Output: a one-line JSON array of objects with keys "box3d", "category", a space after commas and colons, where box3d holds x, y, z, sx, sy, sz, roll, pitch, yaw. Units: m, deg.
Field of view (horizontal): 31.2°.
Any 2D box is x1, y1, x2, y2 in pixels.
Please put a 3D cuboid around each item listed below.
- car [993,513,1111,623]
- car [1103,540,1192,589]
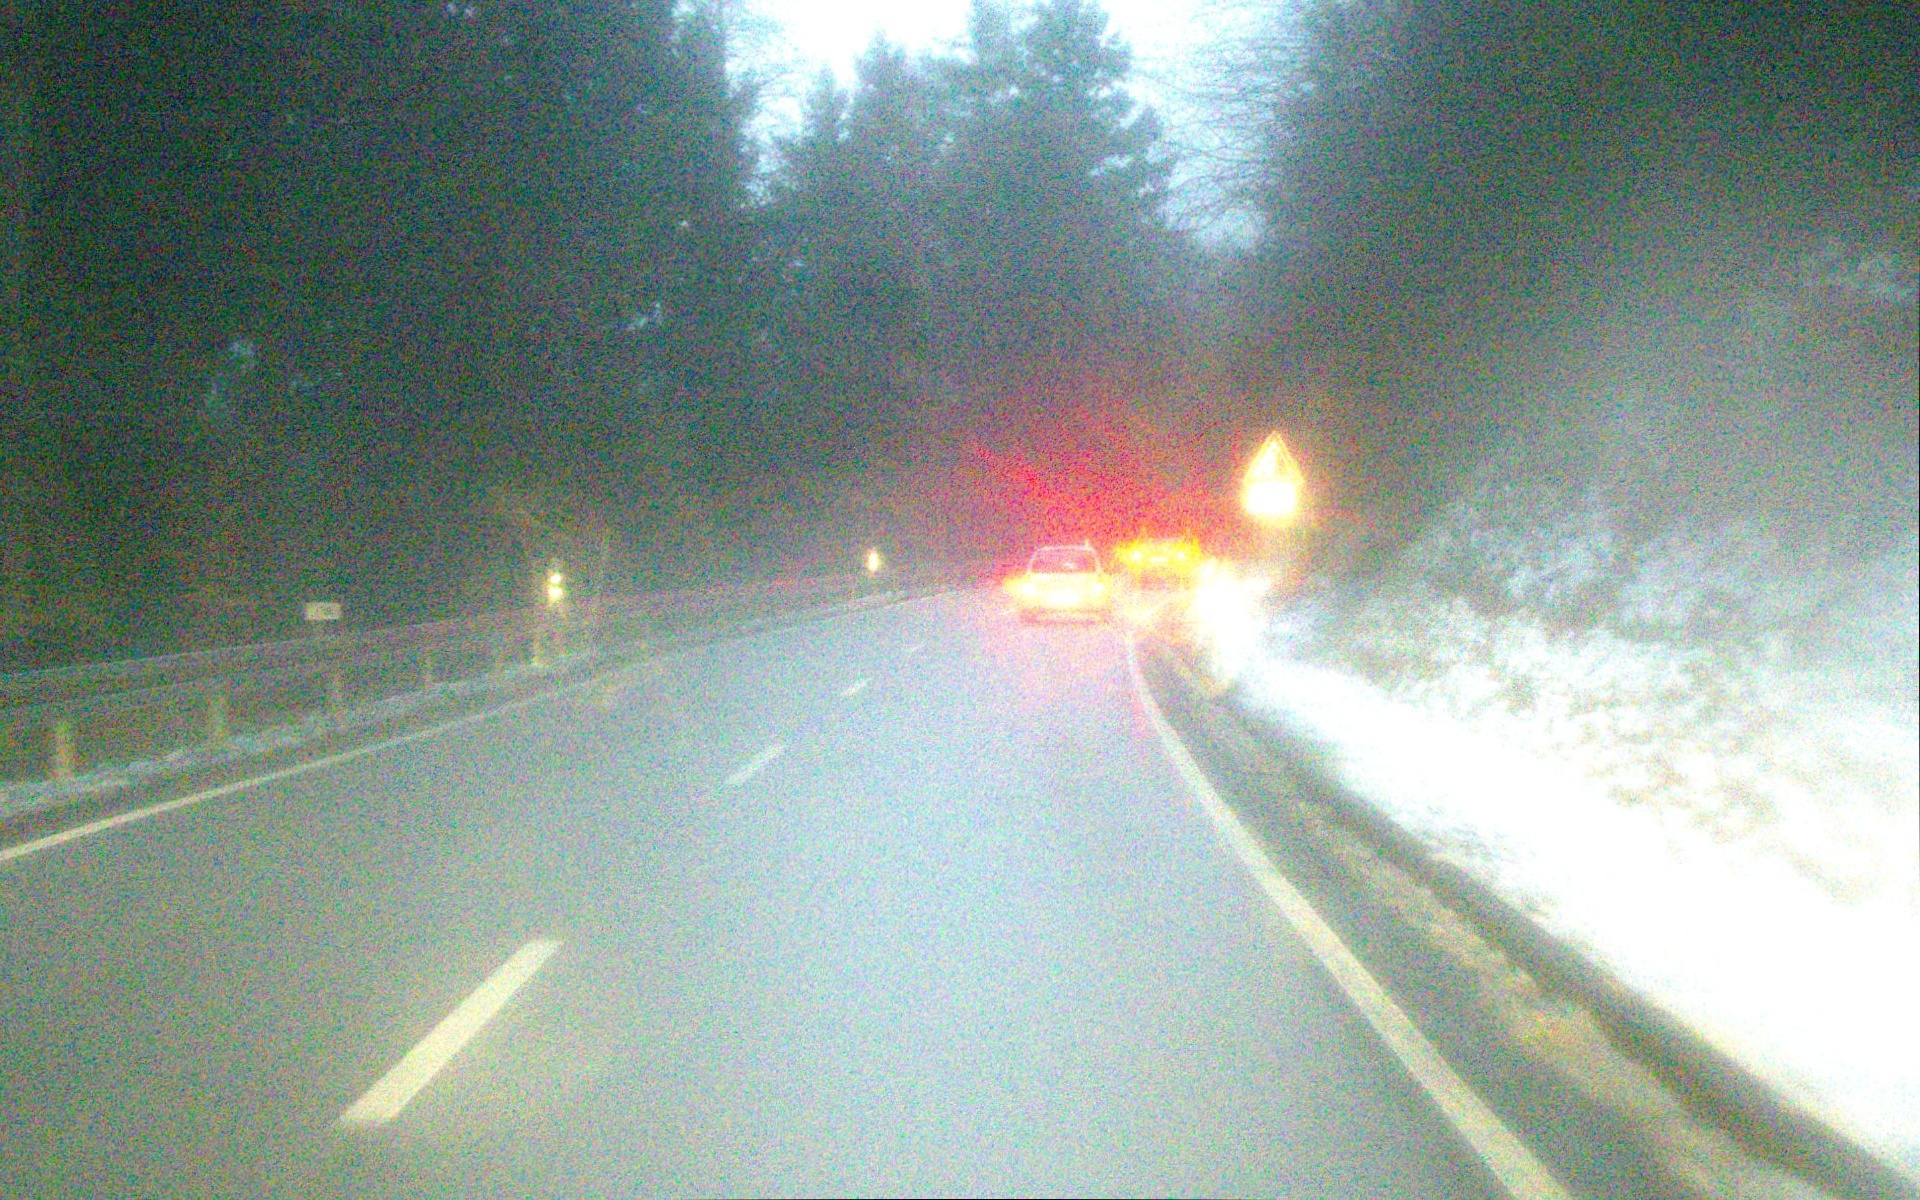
[{"box3d": [1.663, -0.624, 63.168, 1.993, 1.866, 4.000, -3, 1, 0], "category": "car"}, {"box3d": [5.483, -1.057, 101.013, 1.993, 1.305, 4.001, -3, 1, -5], "category": "car"}]
